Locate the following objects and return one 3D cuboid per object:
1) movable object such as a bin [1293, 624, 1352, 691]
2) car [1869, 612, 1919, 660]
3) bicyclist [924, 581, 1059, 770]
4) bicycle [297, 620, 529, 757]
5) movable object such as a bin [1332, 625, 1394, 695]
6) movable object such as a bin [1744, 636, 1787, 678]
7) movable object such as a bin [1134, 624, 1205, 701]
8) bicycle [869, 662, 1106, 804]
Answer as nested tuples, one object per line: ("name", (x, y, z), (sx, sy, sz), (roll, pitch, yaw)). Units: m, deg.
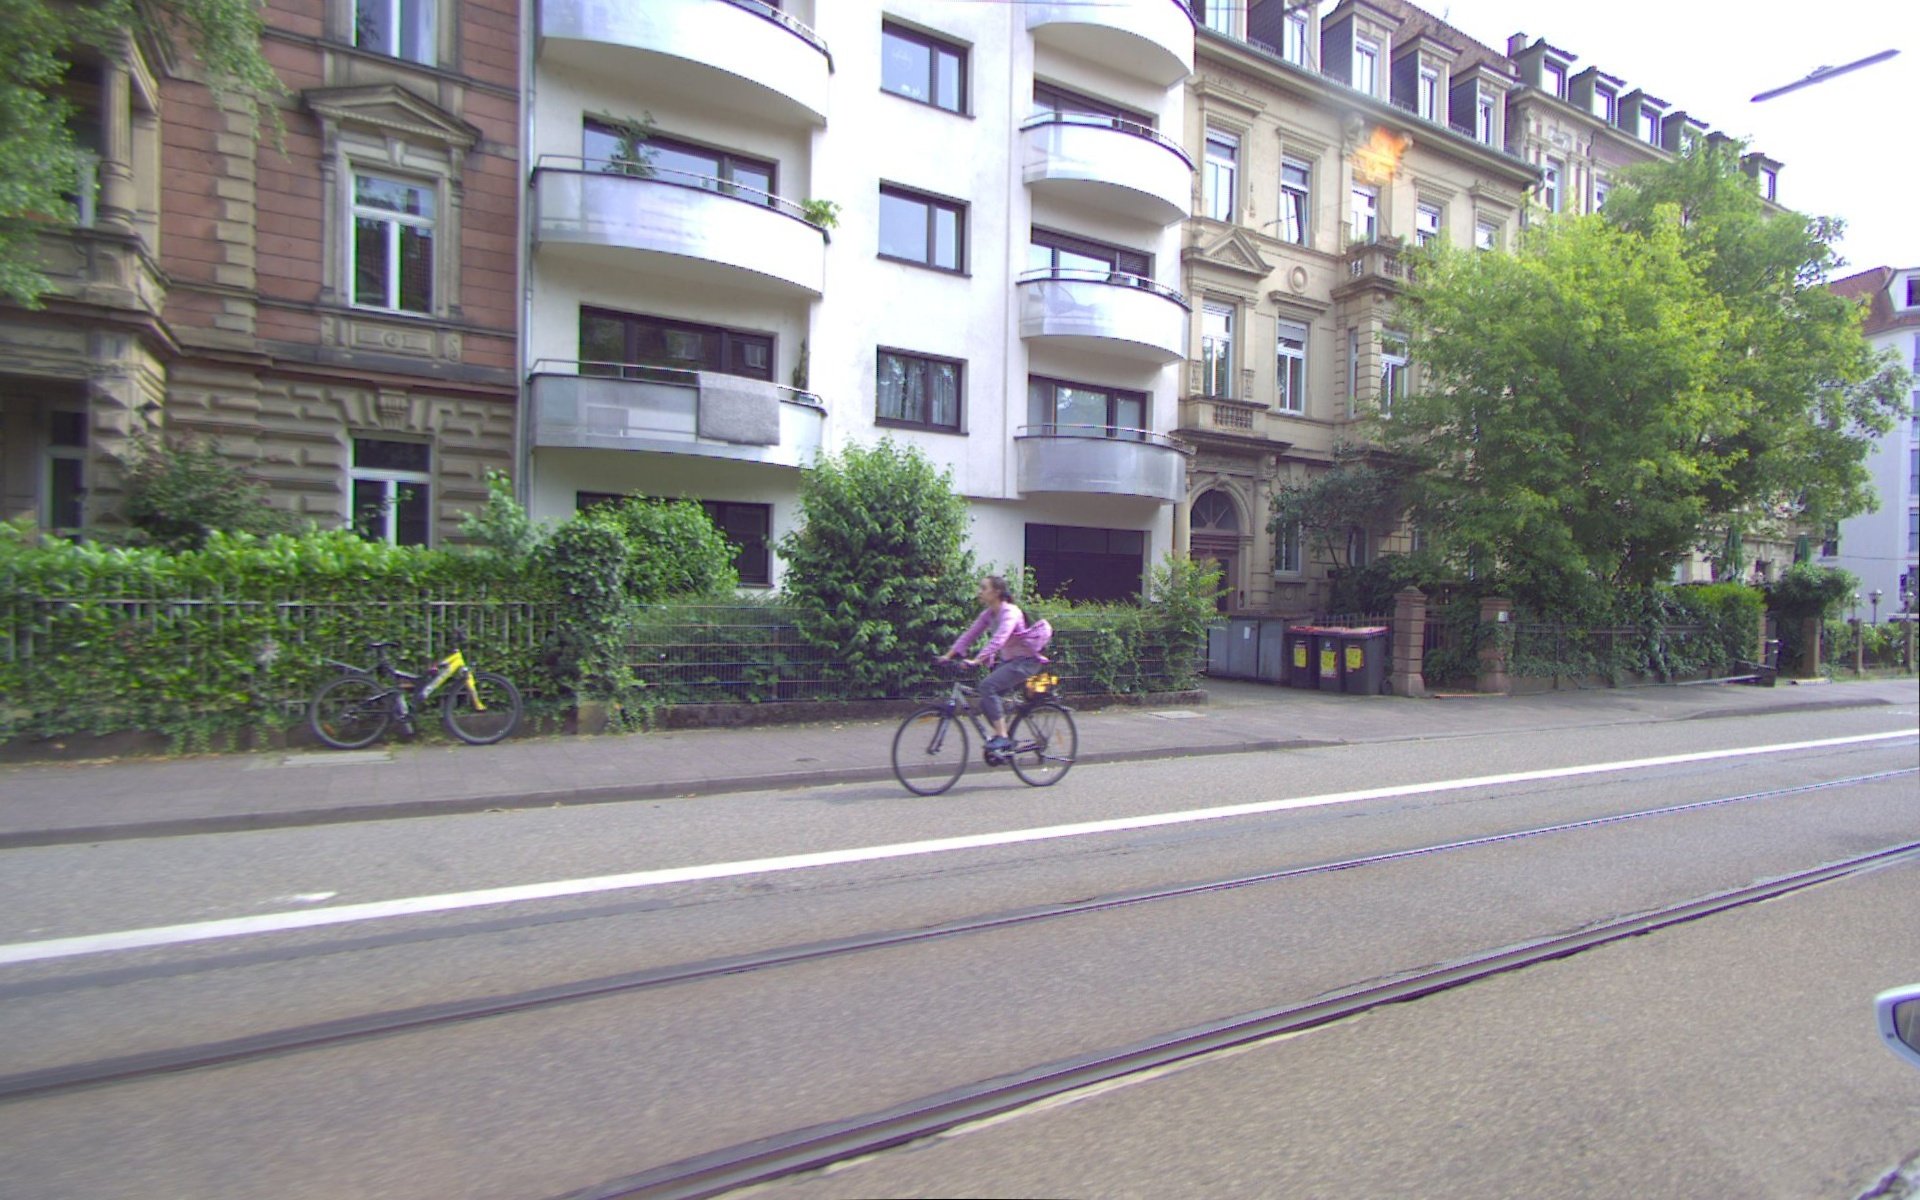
("movable object such as a bin", (6.282, 0.983, 17.411), (0.726, 1.122, 0.663), (1, 0, -33))
("car", (42.366, 1.557, 43.040), (2.012, 2.040, 4.940), (1, -1, -7))
("bicyclist", (0.254, 0.588, 8.176), (0.930, 1.444, 0.562), (1, 0, -28))
("bicycle", (-4.922, 0.768, 9.133), (1.798, 1.152, 0.410), (1, 0, -31))
("movable object such as a bin", (6.663, 0.977, 16.611), (0.726, 1.122, 0.663), (1, 0, -33))
("movable object such as a bin", (18.680, 1.321, 23.286), (0.633, 0.937, 0.576), (1, 0, -30))
("movable object such as a bin", (3.198, 0.942, 15.375), (0.725, 1.122, 0.769), (1, 0, -30))
("bicycle", (0.247, 1.033, 8.177), (1.894, 1.003, 0.567), (1, 0, -28))
